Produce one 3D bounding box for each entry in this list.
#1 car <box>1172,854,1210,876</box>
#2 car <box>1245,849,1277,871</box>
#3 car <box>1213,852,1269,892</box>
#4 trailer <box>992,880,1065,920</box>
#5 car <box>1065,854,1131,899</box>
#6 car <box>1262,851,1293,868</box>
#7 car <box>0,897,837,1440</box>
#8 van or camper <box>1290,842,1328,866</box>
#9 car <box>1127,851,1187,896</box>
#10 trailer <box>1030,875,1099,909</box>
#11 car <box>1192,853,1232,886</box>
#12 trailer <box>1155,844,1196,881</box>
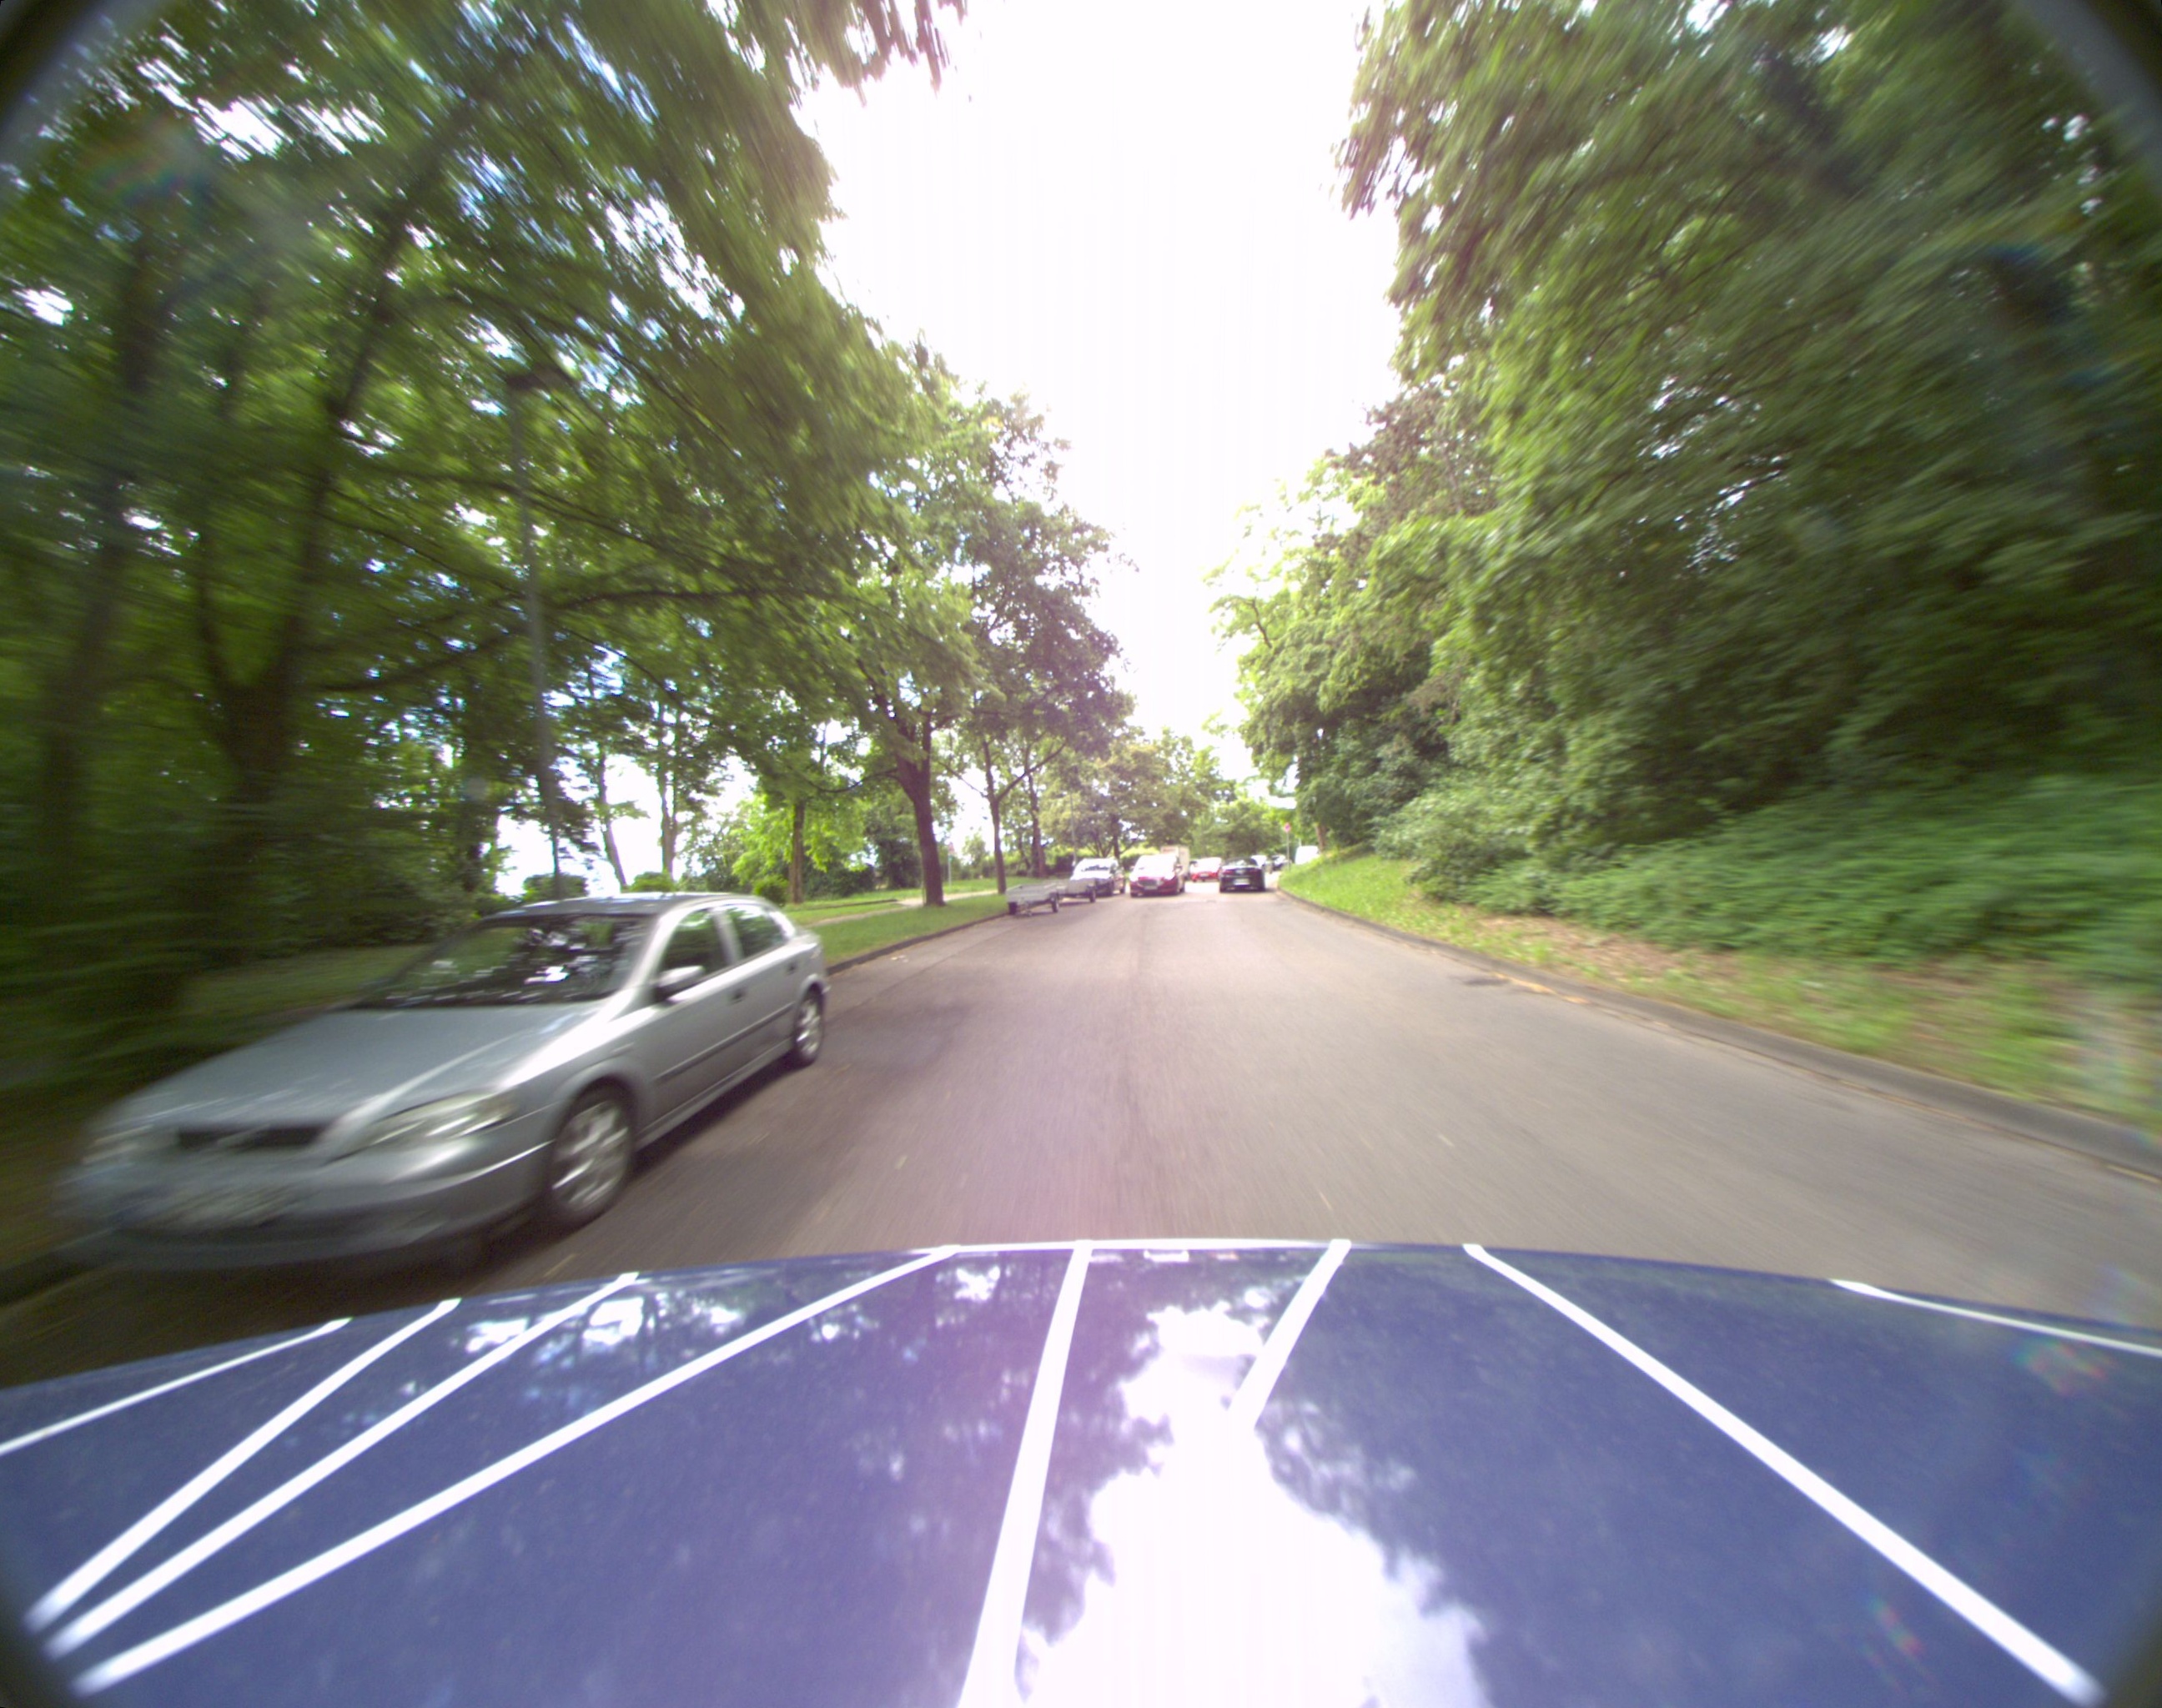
[{"bbox_3d":[8.252,0.801,56.829,1.743,1.516,4.642,-2,0,21],"label":"car"},{"bbox_3d":[15.378,0.509,64.678,1.919,1.671,4.005,-2,2,24],"label":"car"},{"bbox_3d":[6.750,0.707,32.470,1.795,1.381,4.492,-5,1,6],"label":"car"},{"bbox_3d":[-1.478,1.324,22.614,1.366,0.843,3.280,-4,1,10],"label":"trailer"},{"bbox_3d":[0.820,0.911,33.277,1.778,1.652,4.845,-4,0,14],"label":"car"},{"bbox_3d":[20.963,0.572,80.863,1.849,1.633,4.539,-2,0,32],"label":"car"},{"bbox_3d":[-2.972,1.124,4.380,1.721,1.423,3.948,-2,1,1],"label":"car"},{"bbox_3d":[26.854,-0.048,89.234,2.163,2.521,6.043,-4,-1,37],"label":"van or camper"},{"bbox_3d":[3.230,0.768,31.461,1.997,1.618,4.630,-4,-1,10],"label":"car"},{"bbox_3d":[-0.527,1.312,27.323,1.359,0.963,3.897,-4,-1,15],"label":"trailer"},{"bbox_3d":[8.073,0.912,46.625,1.864,1.442,4.177,0,6,17],"label":"car"},{"bbox_3d":[6.470,0.549,51.665,1.762,2.412,3.893,-2,0,21],"label":"trailer"}]
